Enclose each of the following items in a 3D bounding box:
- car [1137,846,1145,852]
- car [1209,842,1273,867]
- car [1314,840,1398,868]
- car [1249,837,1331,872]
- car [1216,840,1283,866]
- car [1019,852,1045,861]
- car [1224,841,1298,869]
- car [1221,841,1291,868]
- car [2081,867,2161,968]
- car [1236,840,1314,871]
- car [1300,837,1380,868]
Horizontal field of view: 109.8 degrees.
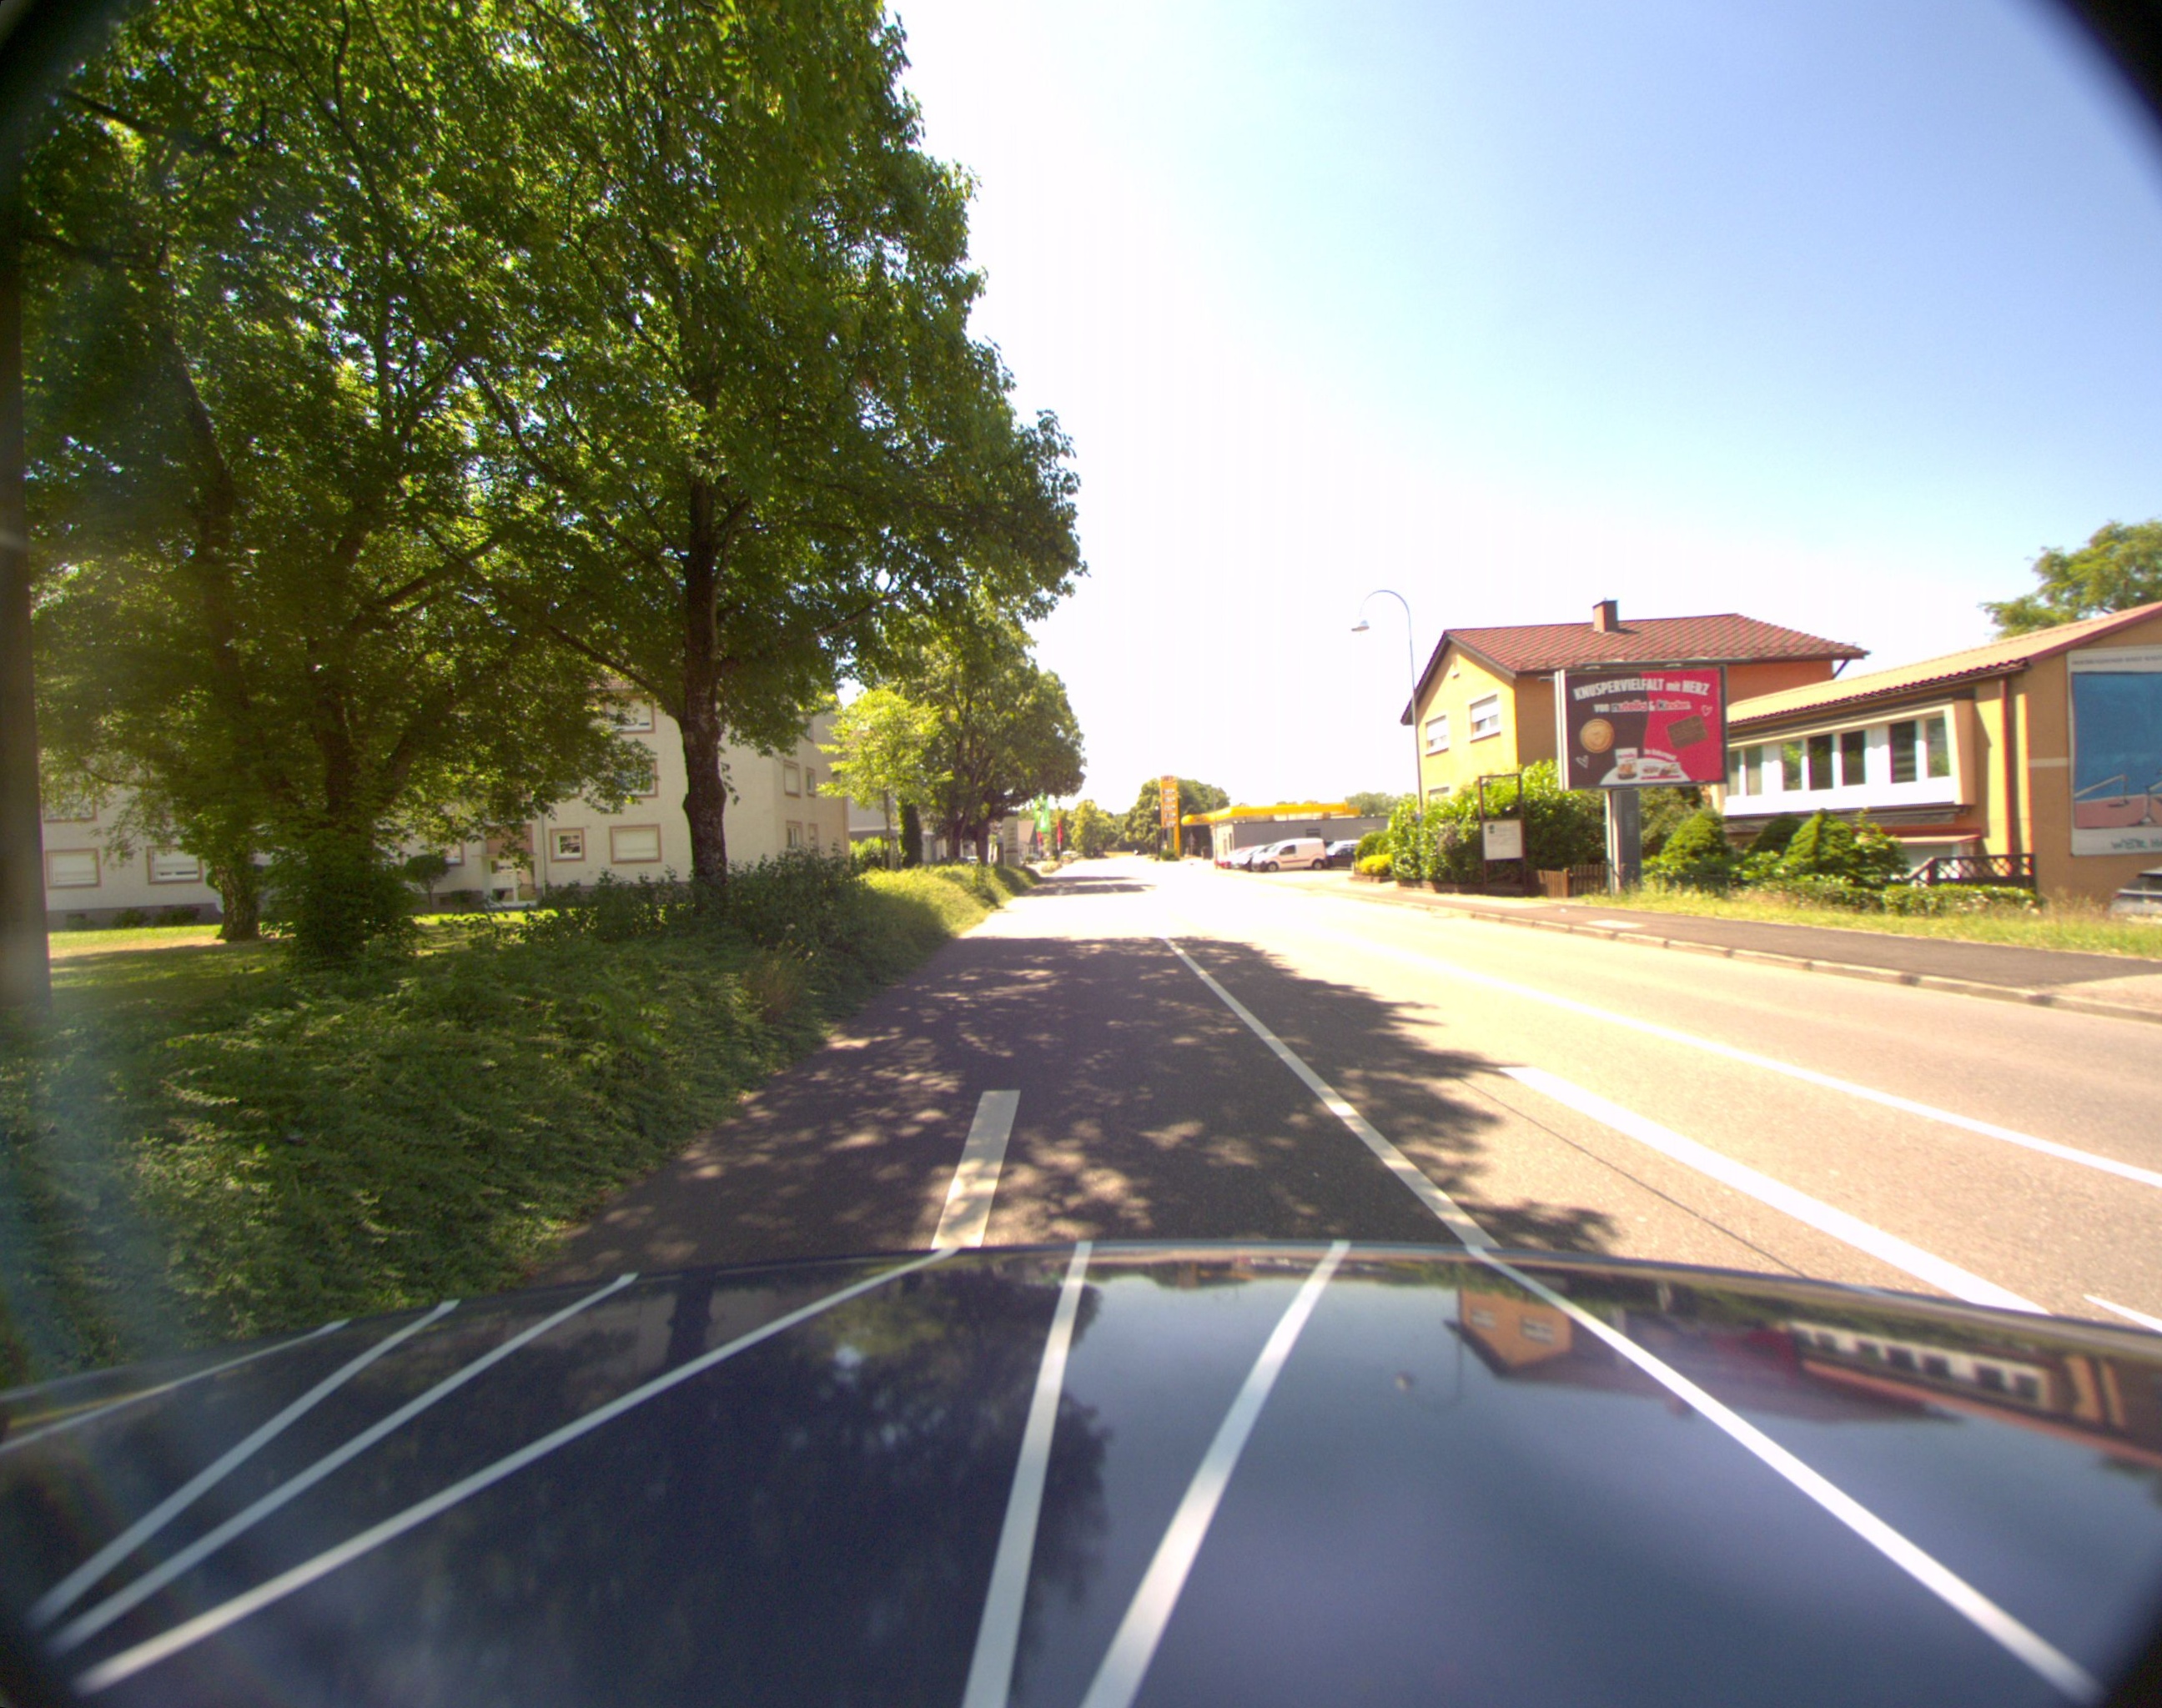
[{"bbox_3d":[15.478,-1.243,195.568,1.809,1.552,4.064,-2,1,6],"label":"car"},{"bbox_3d":[12.194,0.044,58.077,4.402,1.750,1.874,-2,1,-5],"label":"car"},{"bbox_3d":[16.767,0.000,46.440,4.402,1.554,1.874,-2,1,-5],"label":"car"},{"bbox_3d":[12.175,0.009,44.424,4.191,1.858,1.874,-2,1,-5],"label":"car"},{"bbox_3d":[12.259,-0.046,55.410,4.402,1.750,1.874,-2,1,-5],"label":"car"},{"bbox_3d":[-8.292,0.419,127.684,4.118,1.521,1.776,-1,1,36],"label":"car"},{"bbox_3d":[12.062,0.065,51.064,4.402,1.750,1.874,-2,1,-5],"label":"car"},{"bbox_3d":[12.243,0.020,53.417,4.402,1.750,1.874,-2,1,-5],"label":"car"},{"bbox_3d":[19.796,1.015,12.390,4.224,1.599,1.772,-1,1,7],"label":"car"},{"bbox_3d":[11.838,0.083,46.544,4.246,1.750,1.874,-2,1,-5],"label":"car"},{"bbox_3d":[16.530,-0.095,48.613,4.402,1.815,1.874,-2,1,-5],"label":"car"}]
